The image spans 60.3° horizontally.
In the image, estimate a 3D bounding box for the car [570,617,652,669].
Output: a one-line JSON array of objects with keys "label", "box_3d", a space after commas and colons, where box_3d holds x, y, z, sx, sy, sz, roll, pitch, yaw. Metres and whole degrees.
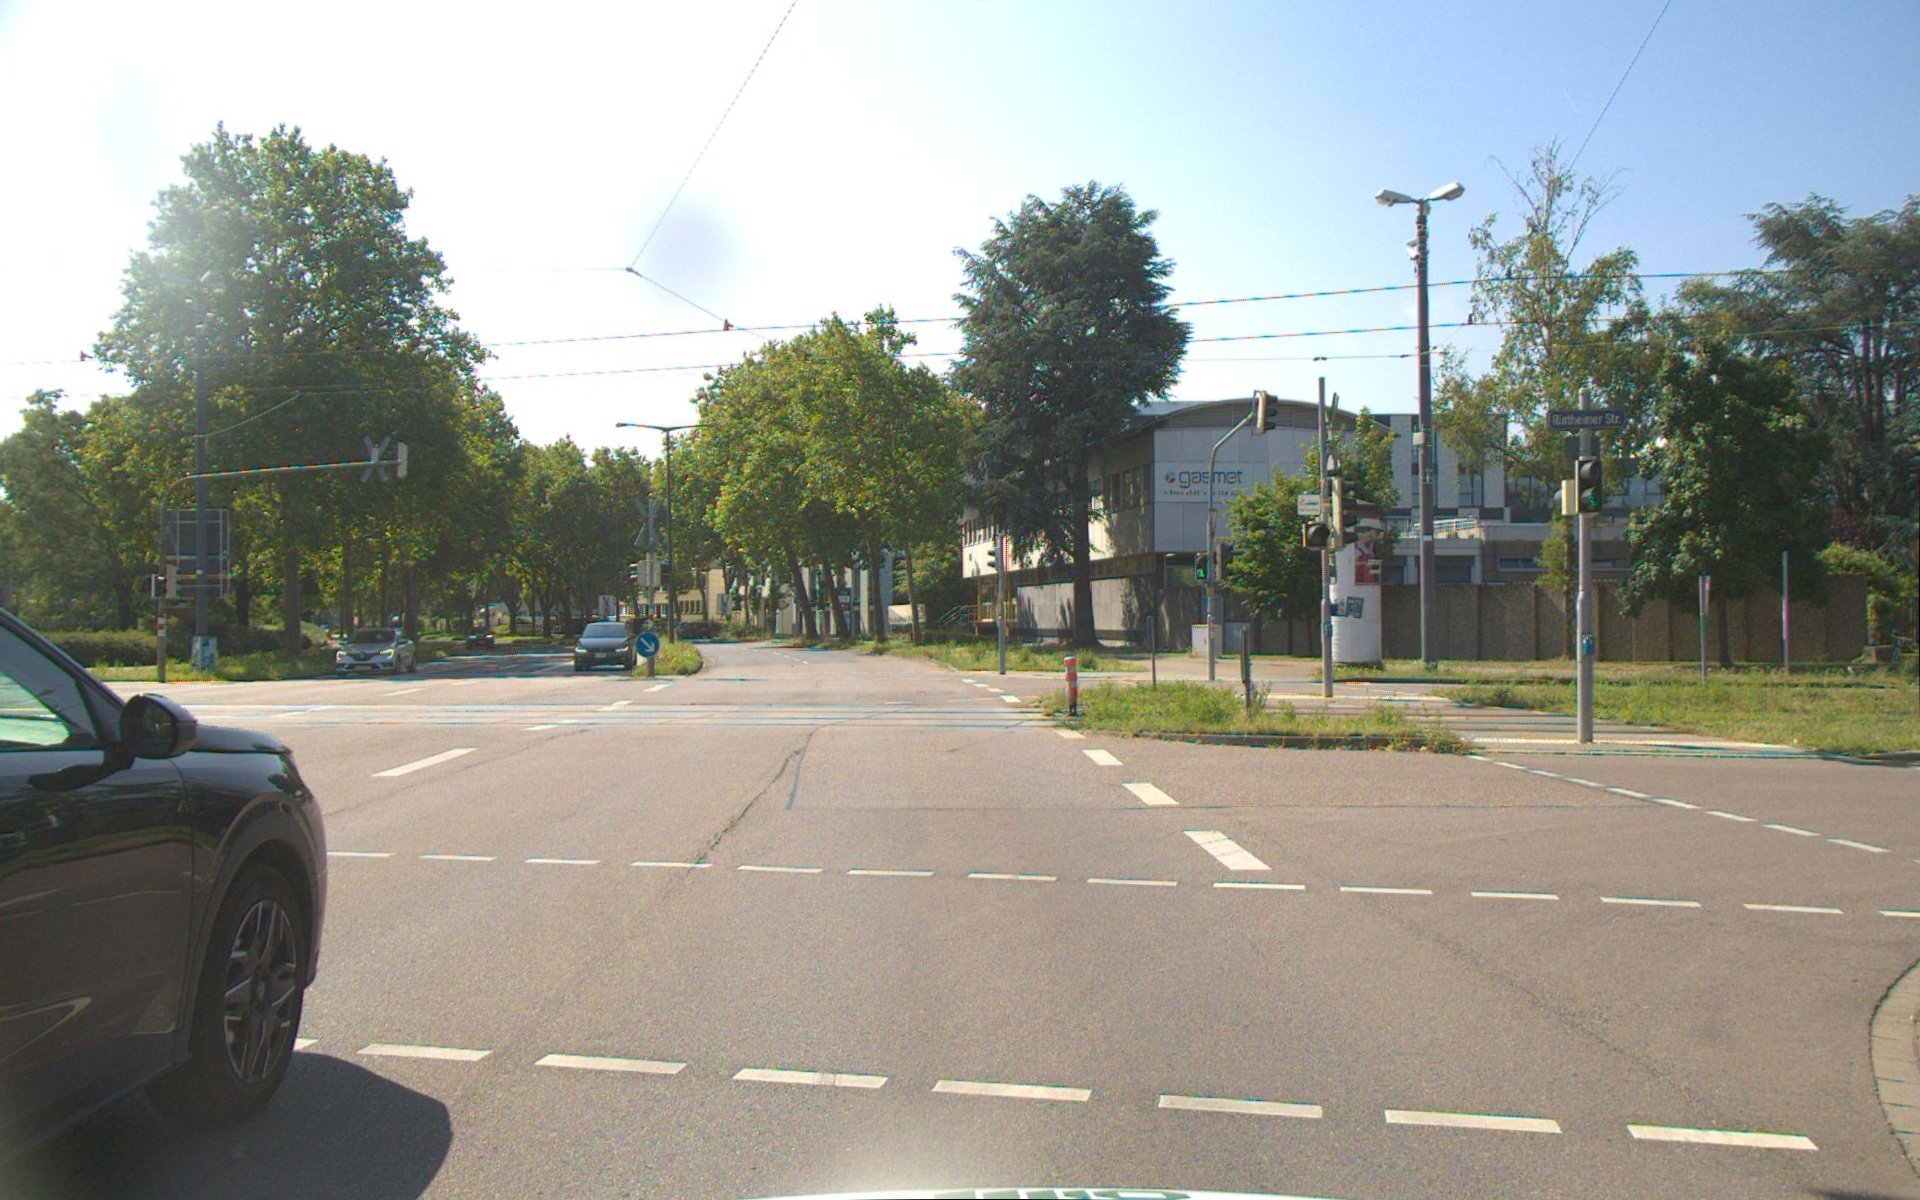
[{"label": "car", "box_3d": [-10.798, 1.315, 51.389, 1.659, 1.534, 4.129, -1, -1, 0]}]

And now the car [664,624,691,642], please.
[{"label": "car", "box_3d": [-24.941, 2.937, 145.983, 1.682, 1.514, 4.076, -1, 0, -20]}]

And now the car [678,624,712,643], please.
[{"label": "car", "box_3d": [-22.633, 2.821, 141.019, 1.685, 1.513, 4.682, -2, 0, -24]}]

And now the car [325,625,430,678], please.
[{"label": "car", "box_3d": [-17.992, 1.563, 51.271, 1.659, 1.534, 4.660, -1, -1, -1]}]

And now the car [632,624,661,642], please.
[{"label": "car", "box_3d": [-30.811, 3.251, 162.365, 1.685, 1.699, 4.497, -1, 0, -25]}]

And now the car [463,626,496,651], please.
[{"label": "car", "box_3d": [-34.027, 2.700, 117.159, 1.678, 1.617, 4.422, -2, 0, -10]}]

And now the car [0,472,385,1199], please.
[{"label": "car", "box_3d": [-2.840, 0.601, 3.315, 1.834, 1.726, 4.435, 0, -1, 0]}]

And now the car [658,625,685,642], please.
[{"label": "car", "box_3d": [-26.403, 3.080, 151.212, 1.682, 1.480, 4.627, -1, 0, -20]}]
